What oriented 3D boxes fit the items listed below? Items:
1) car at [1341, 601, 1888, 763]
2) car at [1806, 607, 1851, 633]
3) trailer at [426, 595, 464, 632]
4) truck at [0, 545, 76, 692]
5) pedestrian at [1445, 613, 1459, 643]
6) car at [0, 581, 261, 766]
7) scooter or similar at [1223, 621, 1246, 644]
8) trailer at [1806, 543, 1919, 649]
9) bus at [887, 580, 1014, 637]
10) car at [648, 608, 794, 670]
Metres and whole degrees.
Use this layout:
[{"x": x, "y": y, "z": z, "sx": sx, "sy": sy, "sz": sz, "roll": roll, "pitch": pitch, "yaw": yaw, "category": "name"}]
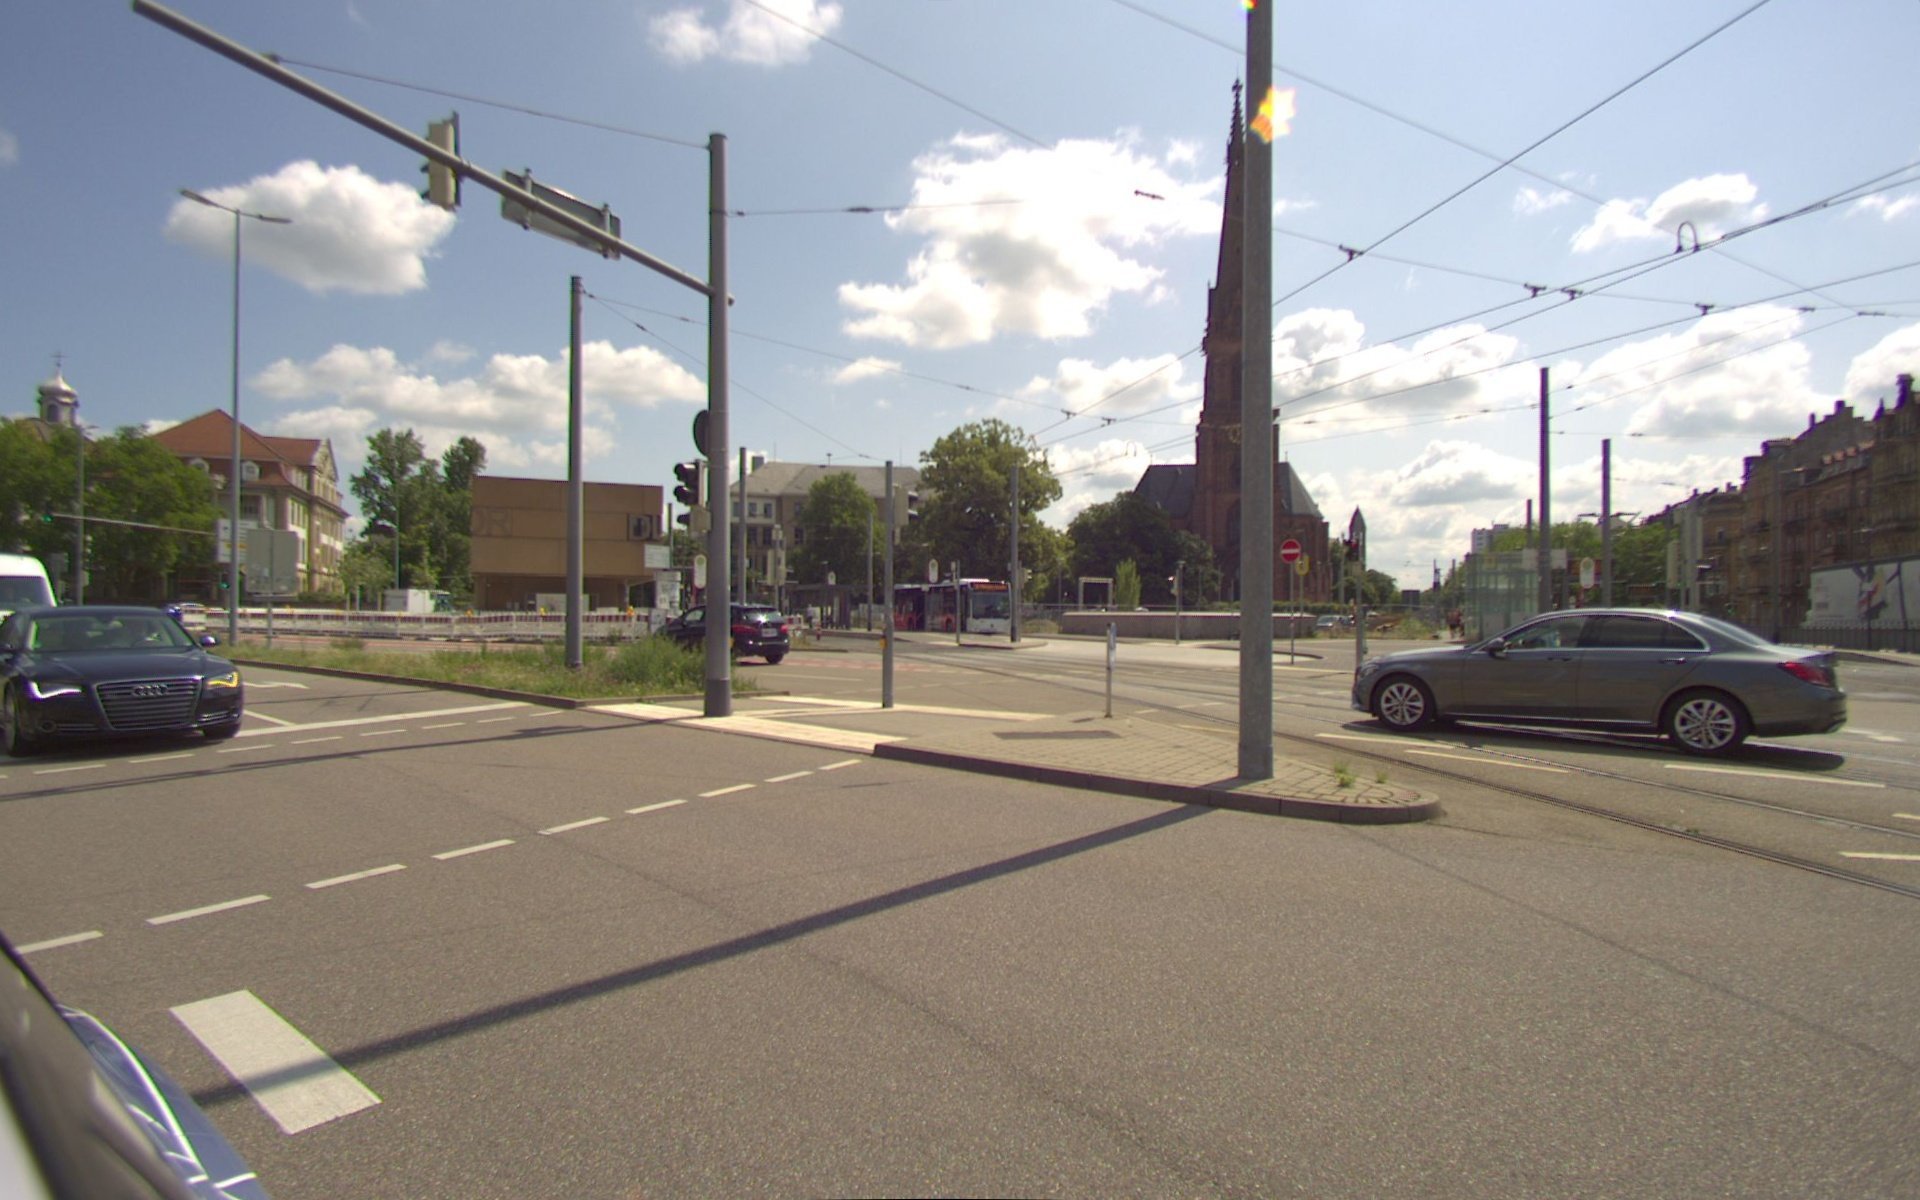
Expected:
[{"x": 6.827, "y": 0.754, "z": 10.995, "sx": 4.775, "sy": 1.402, "sz": 1.635, "roll": -1, "pitch": -2, "yaw": 43, "category": "car"}, {"x": 83.994, "y": 1.905, "z": 97.969, "sx": 1.985, "sy": 2.361, "sz": 4.093, "roll": 0, "pitch": 0, "yaw": 20, "category": "car"}, {"x": -43.188, "y": 1.083, "z": 84.784, "sx": 1.968, "sy": 2.935, "sz": 4.374, "roll": 0, "pitch": 1, "yaw": -39, "category": "trailer"}, {"x": -19.654, "y": 0.328, "z": 20.128, "sx": 5.910, "sy": 2.659, "sz": 2.116, "roll": 0, "pitch": 1, "yaw": 39, "category": "truck"}, {"x": 30.364, "y": 1.730, "z": 62.432, "sx": 0.520, "sy": 1.806, "sz": 0.619, "roll": 0, "pitch": 0, "yaw": -44, "category": "pedestrian"}, {"x": -9.702, "y": 0.699, "z": 11.341, "sx": 4.789, "sy": 1.654, "sz": 1.908, "roll": -1, "pitch": -1, "yaw": 40, "category": "car"}, {"x": 13.663, "y": 1.618, "z": 50.340, "sx": 1.111, "sy": 1.098, "sz": 0.243, "roll": 0, "pitch": 0, "yaw": -13, "category": "scooter or similar"}, {"x": 38.753, "y": -0.173, "z": 40.911, "sx": 2.689, "sy": 3.999, "sz": 13.942, "roll": 0, "pitch": 0, "yaw": 22, "category": "trailer"}, {"x": -0.866, "y": 0.371, "z": 57.499, "sx": 2.550, "sy": 2.881, "sz": 12.308, "roll": 0, "pitch": 1, "yaw": -24, "category": "bus"}, {"x": -6.269, "y": 0.972, "z": 26.311, "sx": 4.152, "sy": 1.480, "sz": 1.636, "roll": -1, "pitch": -2, "yaw": 42, "category": "car"}]
